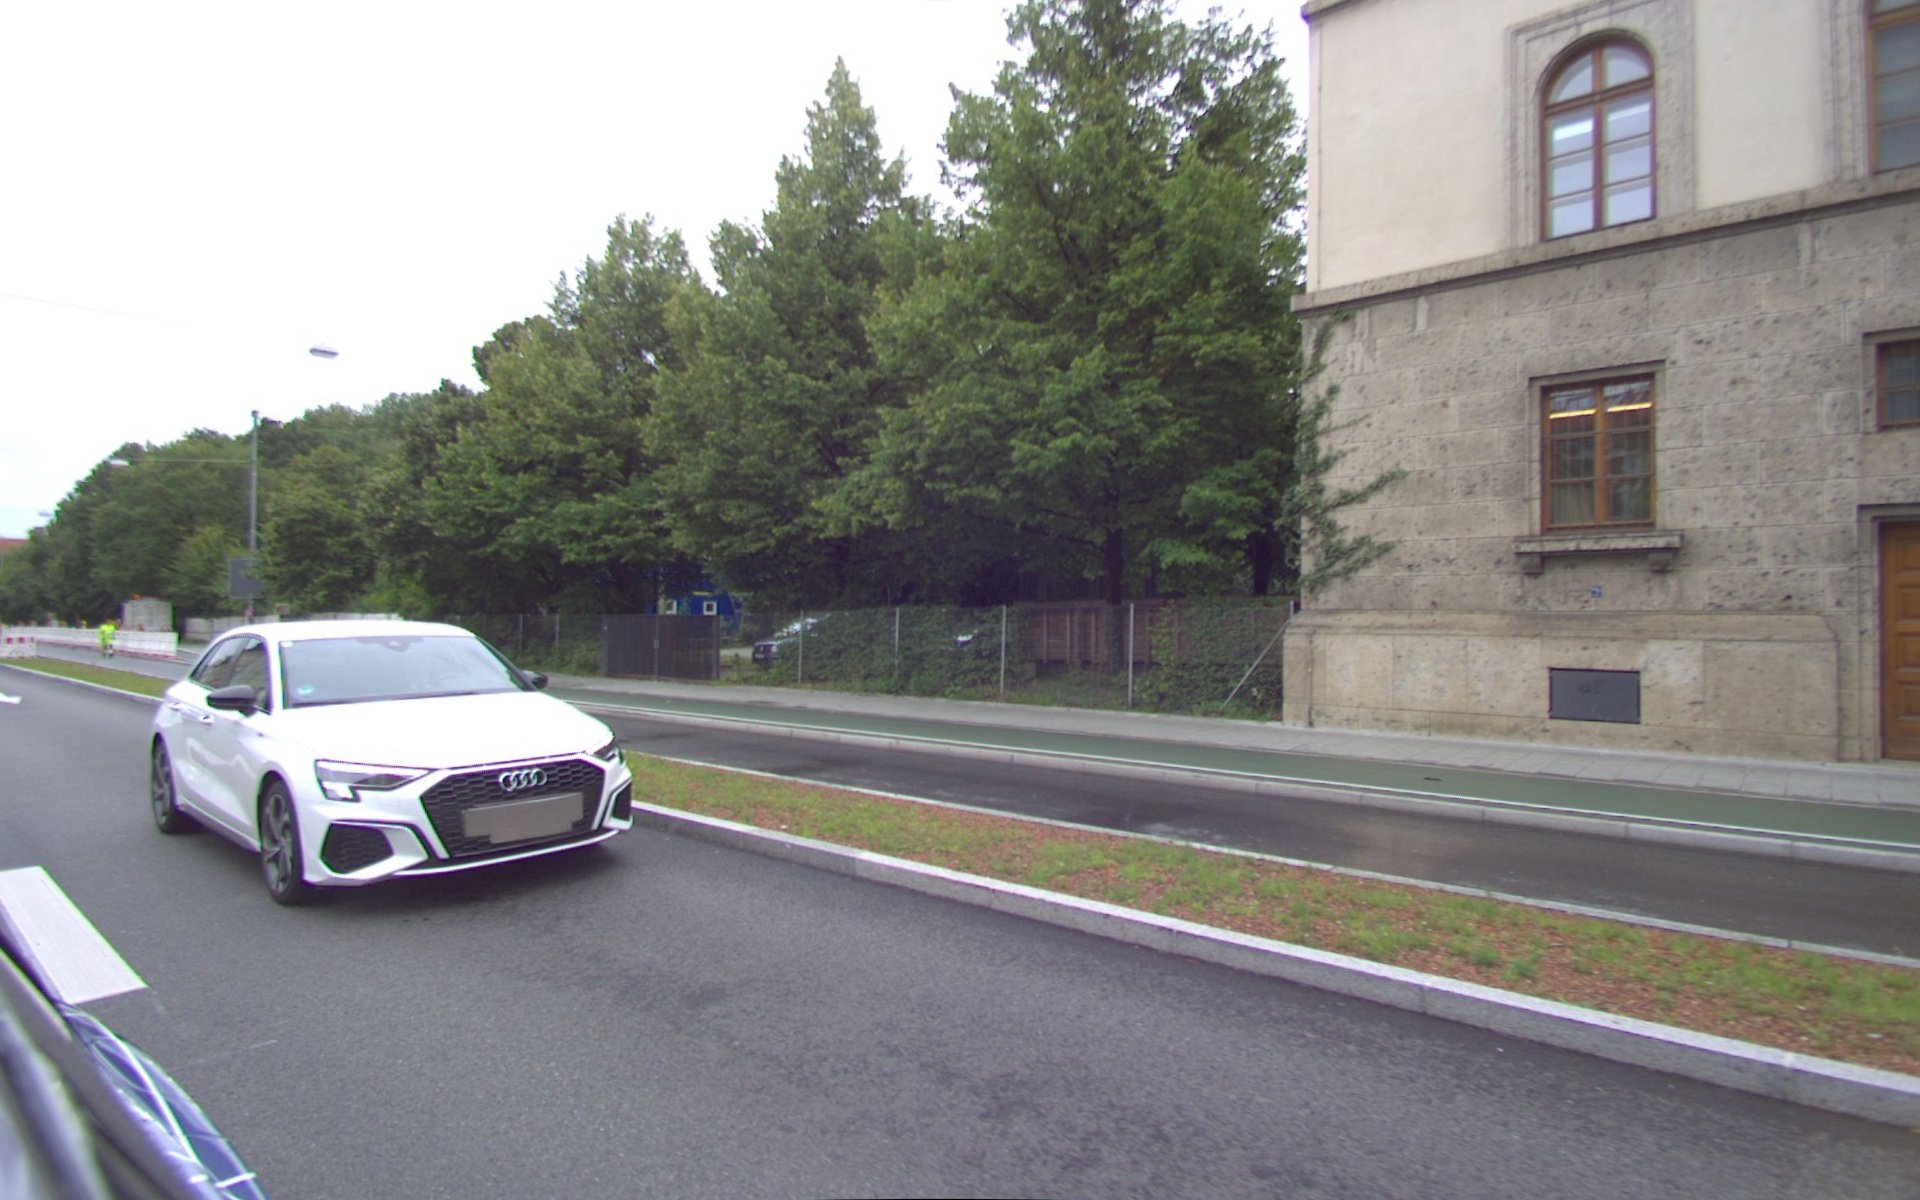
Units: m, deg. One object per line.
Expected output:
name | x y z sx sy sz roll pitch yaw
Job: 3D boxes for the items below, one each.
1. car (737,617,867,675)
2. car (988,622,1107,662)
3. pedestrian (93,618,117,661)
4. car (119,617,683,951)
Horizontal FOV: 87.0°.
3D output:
car | -5.236 1.477 33.827 1.877 1.722 3.981 2 1 45
car | 3.377 1.597 39.447 4.257 1.459 1.974 -1 -1 39
pedestrian | -40.170 1.845 47.538 0.867 2.029 0.747 -1 -1 41
car | -3.865 0.860 6.604 4.449 1.435 1.794 -1 -1 41
